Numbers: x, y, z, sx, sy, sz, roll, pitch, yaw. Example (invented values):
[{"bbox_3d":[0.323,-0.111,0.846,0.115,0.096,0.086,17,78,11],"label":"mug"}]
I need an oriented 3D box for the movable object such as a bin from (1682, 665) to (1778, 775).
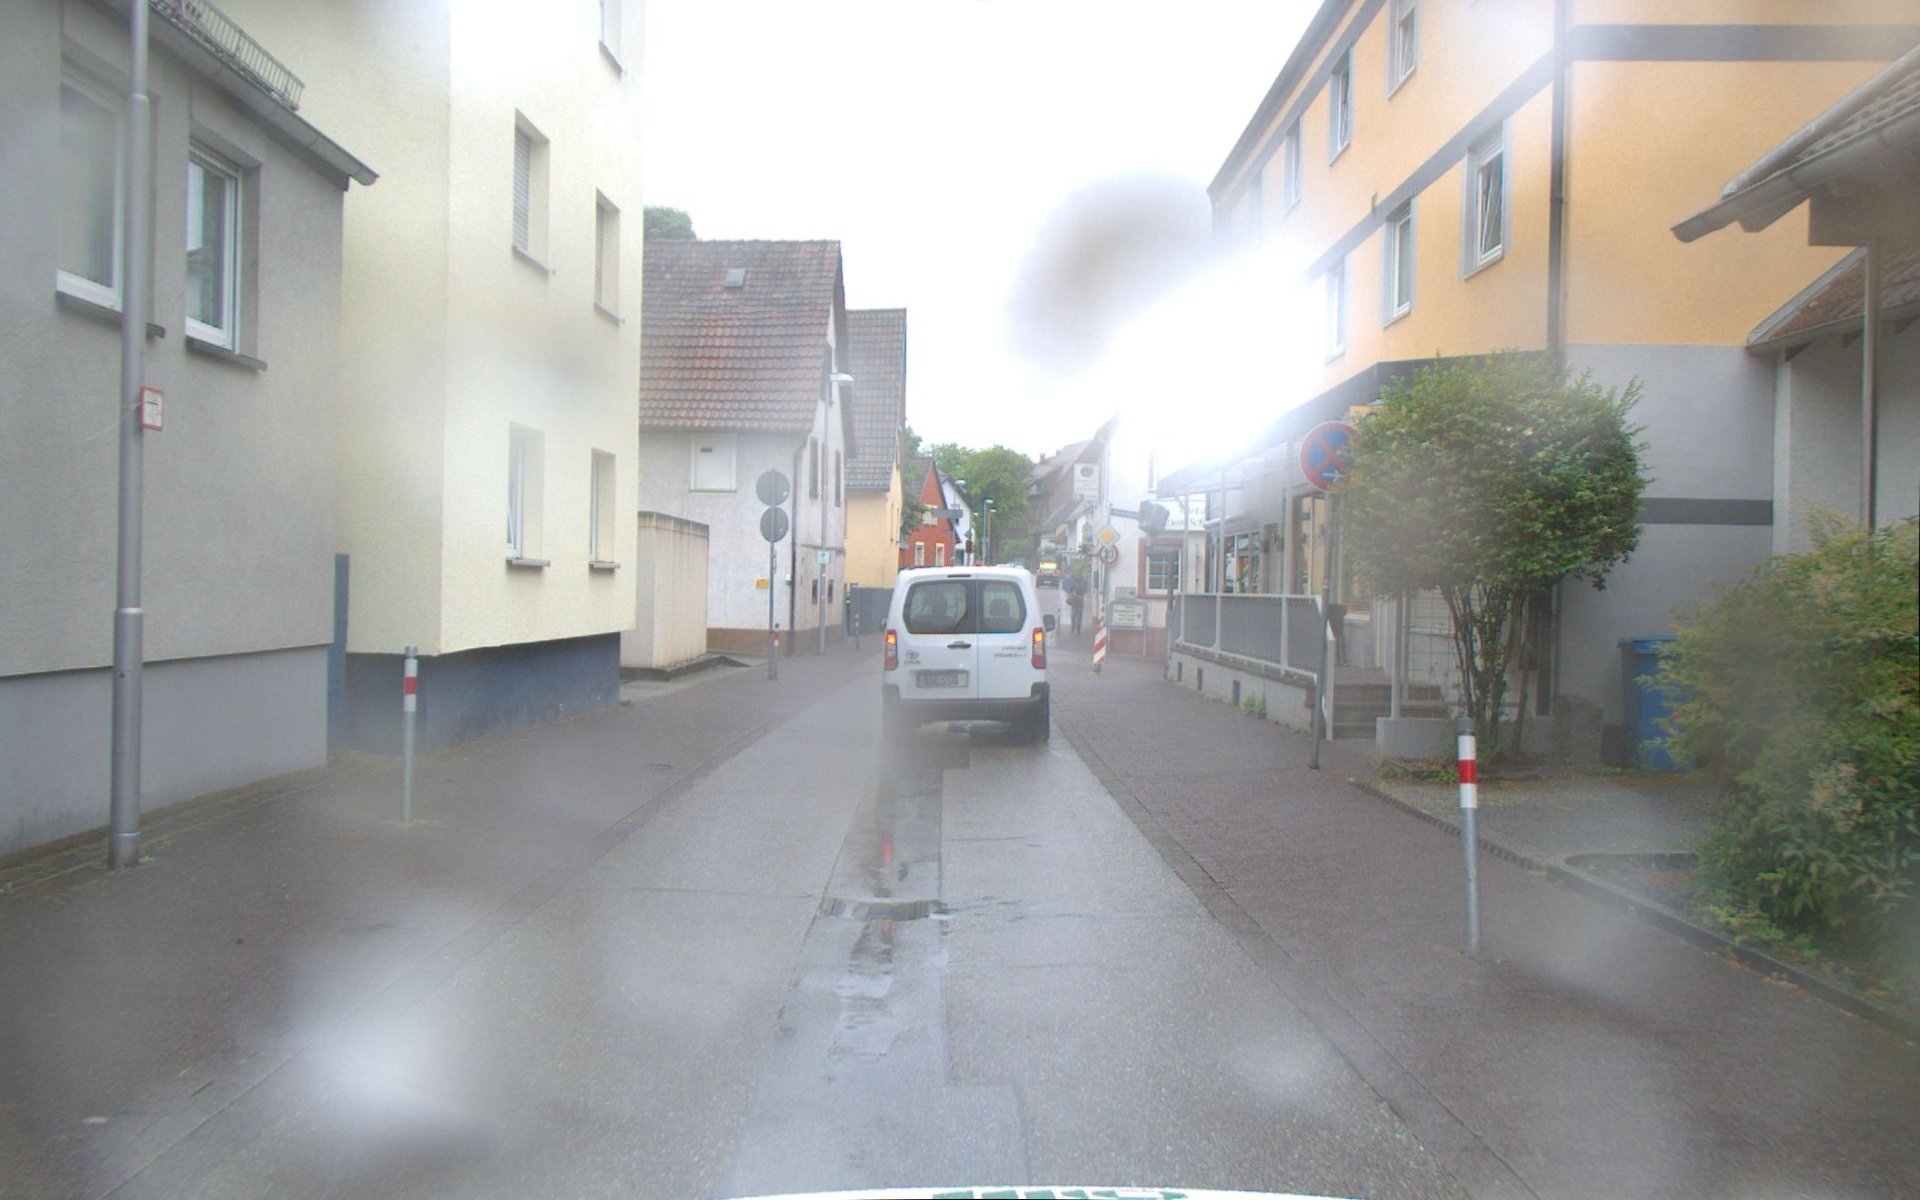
[{"bbox_3d":[6.268,0.965,13.483,0.440,0.826,0.740,-3,0,3],"label":"movable object such as a bin"}]

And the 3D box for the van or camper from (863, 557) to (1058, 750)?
[{"bbox_3d":[0.026,0.532,18.436,1.903,1.883,4.000,1,0,1],"label":"van or camper"}]

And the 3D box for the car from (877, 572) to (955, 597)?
[{"bbox_3d":[-2.459,-0.855,93.328,3.952,1.397,2.086,0,0,-34],"label":"car"}]

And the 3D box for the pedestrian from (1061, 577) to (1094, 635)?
[{"bbox_3d":[3.724,0.191,52.201,0.973,1.766,0.812,1,3,7],"label":"pedestrian"}]

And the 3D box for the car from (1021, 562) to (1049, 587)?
[{"bbox_3d":[5.534,-1.862,122.291,1.952,1.777,4.001,1,1,1],"label":"car"}]

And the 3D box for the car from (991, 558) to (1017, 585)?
[{"bbox_3d":[3.095,-1.996,116.790,1.774,1.810,4.018,1,0,2],"label":"car"}]

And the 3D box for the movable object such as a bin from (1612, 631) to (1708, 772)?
[{"bbox_3d":[5.706,0.815,13.512,0.498,1.100,0.740,0,0,3],"label":"movable object such as a bin"}]
